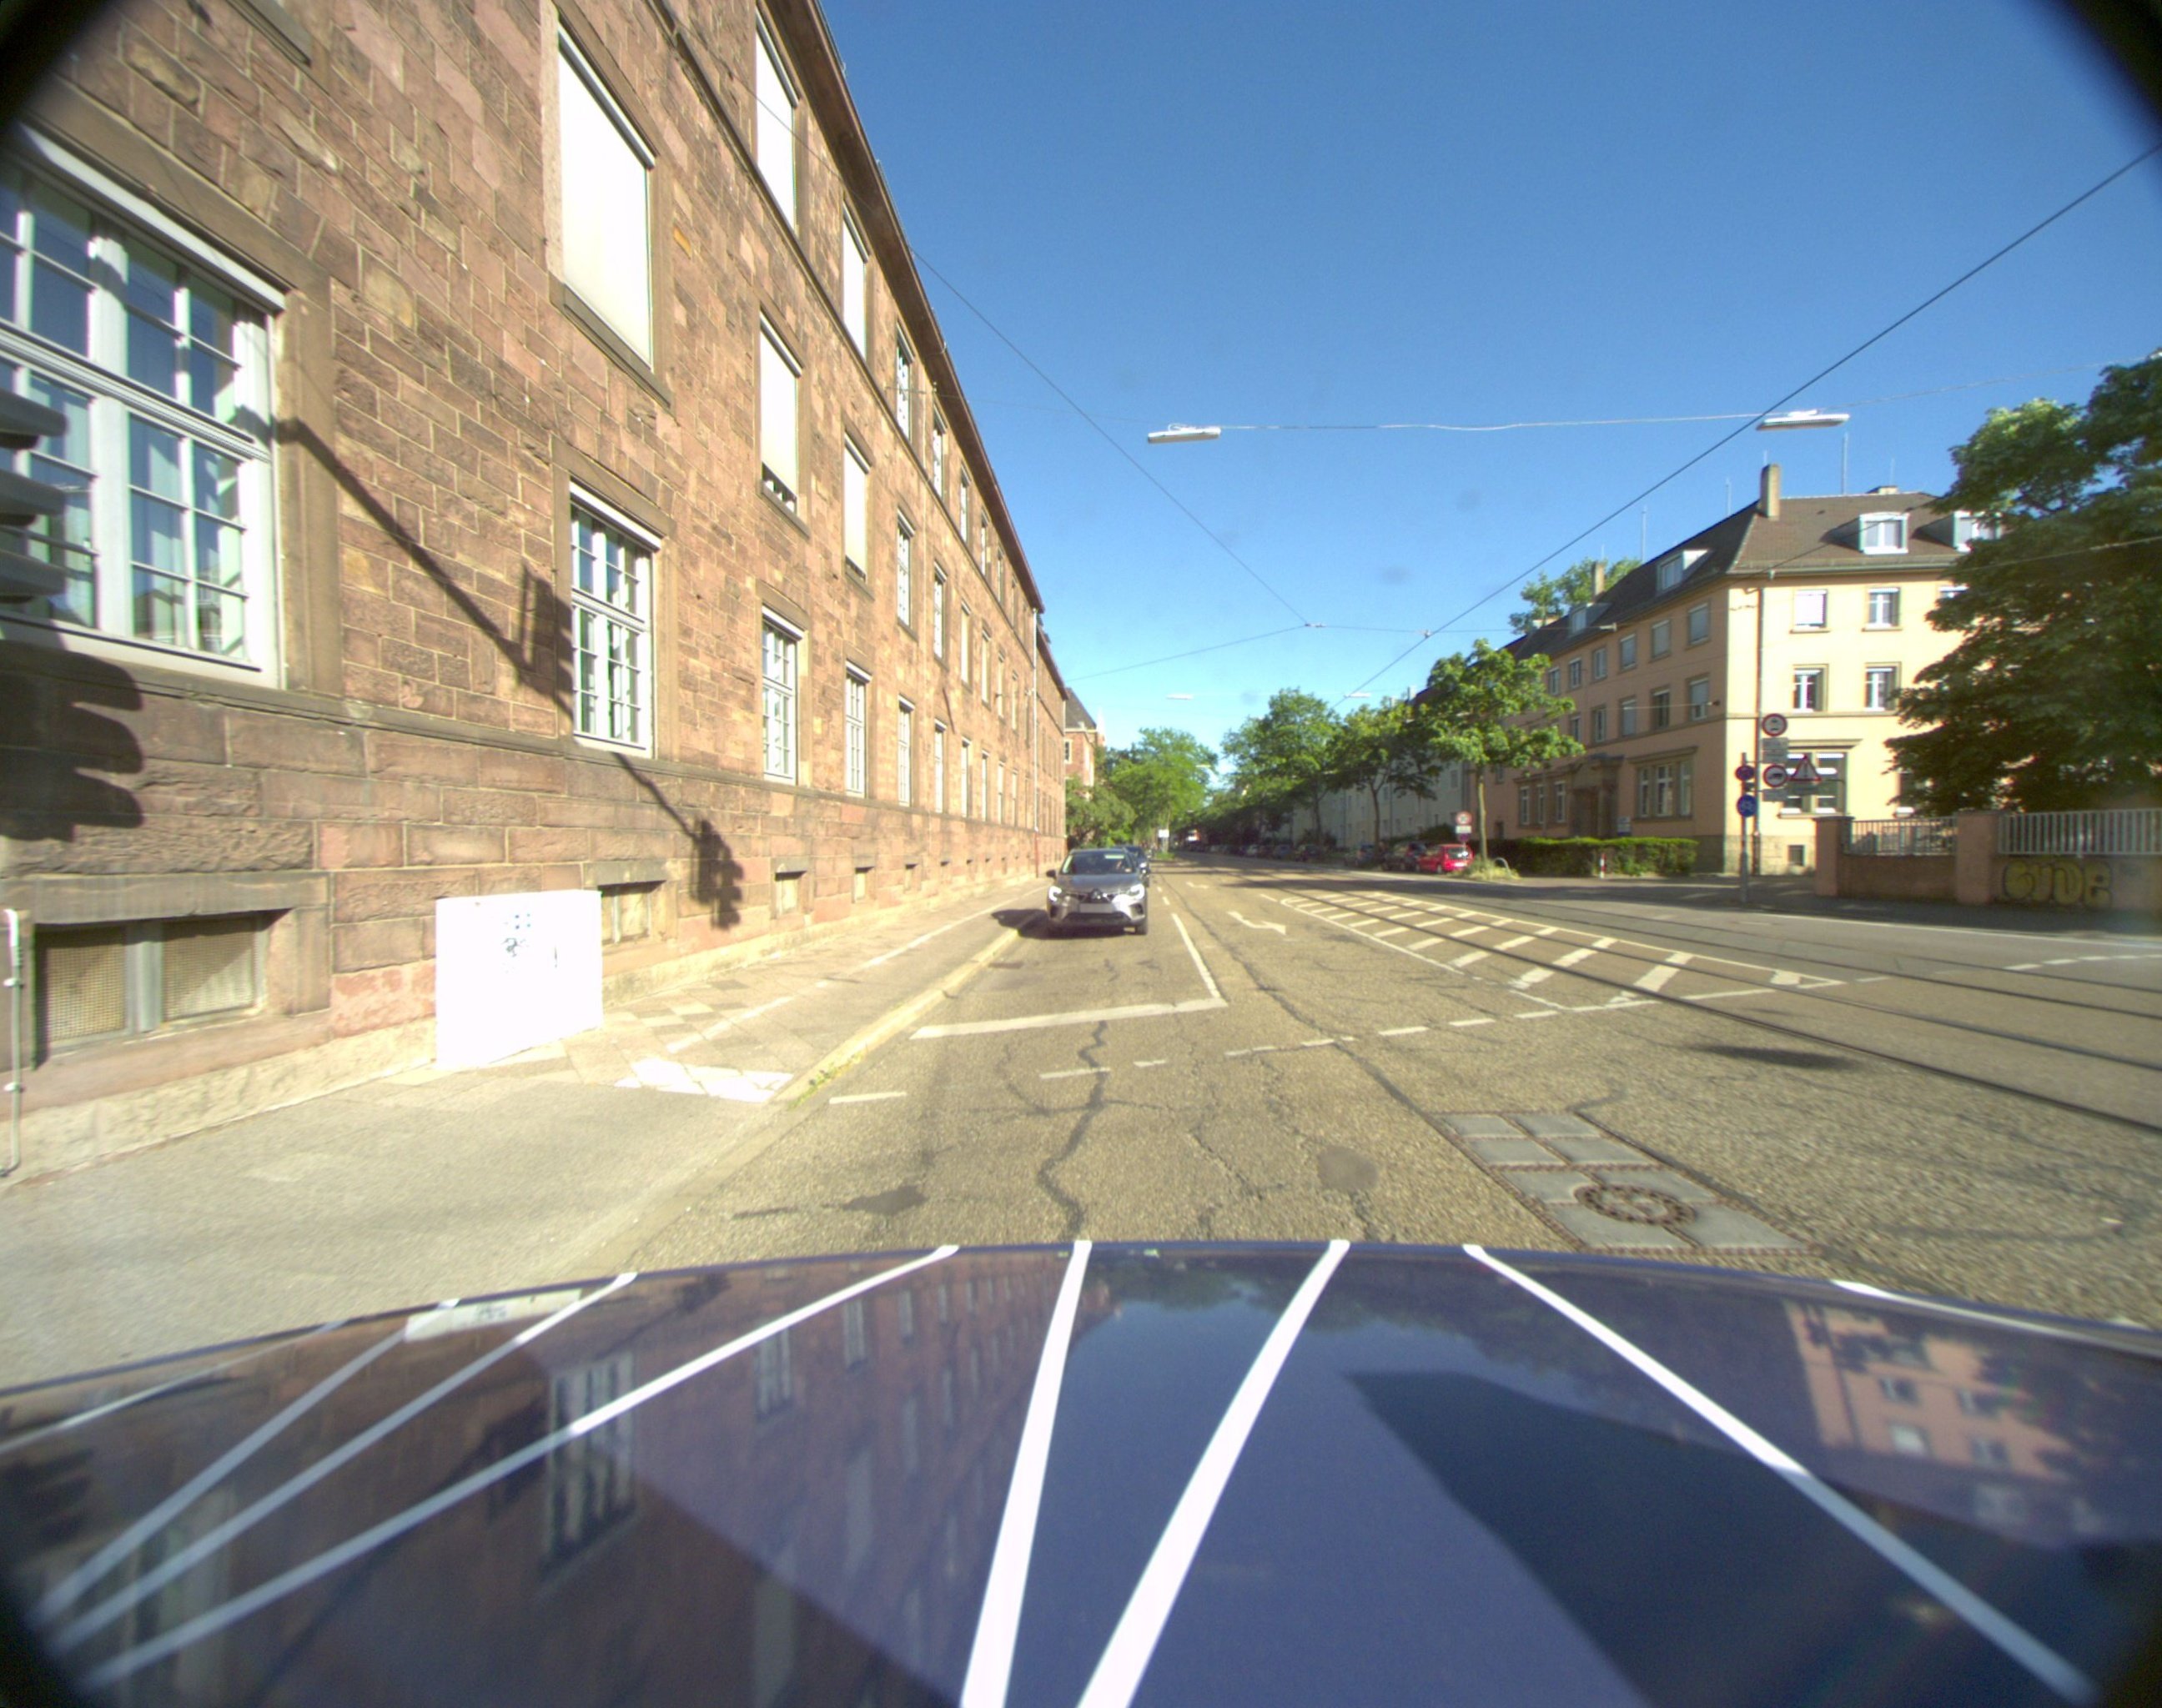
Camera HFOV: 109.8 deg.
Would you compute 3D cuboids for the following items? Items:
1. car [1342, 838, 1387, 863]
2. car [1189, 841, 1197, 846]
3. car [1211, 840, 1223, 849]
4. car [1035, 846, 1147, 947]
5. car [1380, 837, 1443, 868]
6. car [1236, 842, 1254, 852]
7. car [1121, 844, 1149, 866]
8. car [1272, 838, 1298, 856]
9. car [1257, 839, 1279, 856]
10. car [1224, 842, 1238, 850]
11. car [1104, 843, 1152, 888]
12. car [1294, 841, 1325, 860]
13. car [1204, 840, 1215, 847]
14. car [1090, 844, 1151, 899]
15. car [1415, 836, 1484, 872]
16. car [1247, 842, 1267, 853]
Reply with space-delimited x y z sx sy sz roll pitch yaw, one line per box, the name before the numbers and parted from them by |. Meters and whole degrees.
car | 18.963 -0.265 50.985 1.815 1.649 3.877 0 1 5
car | 29.936 -2.752 202.563 1.815 1.411 3.630 0 1 2
car | 26.250 -1.849 146.581 1.815 1.768 3.630 0 1 2
car | 0.248 0.682 14.369 1.795 1.595 3.799 -2 1 2
car | 18.257 -0.101 42.160 1.816 1.649 3.819 0 1 1
car | 22.967 -1.005 106.345 1.815 1.411 3.630 0 1 2
car | 3.715 0.043 52.896 1.911 1.510 4.000 0 1 3
car | 21.174 -0.702 79.036 1.815 1.815 3.795 0 1 2
car | 21.651 -0.771 87.978 1.815 1.930 3.630 0 1 2
car | 24.307 -1.310 123.158 1.815 1.411 3.630 0 1 2
car | 1.871 0.410 30.925 1.795 1.638 4.083 -2 1 2
car | 20.161 -0.346 67.190 1.815 1.590 3.630 0 1 2
car | 26.739 -2.220 158.217 1.815 1.514 3.630 0 1 2
car | 1.283 0.502 24.788 1.795 1.595 3.799 -2 1 2
car | 18.145 -0.030 37.587 1.816 1.696 3.374 0 1 1
car | 22.525 -0.873 97.427 1.815 1.411 3.630 0 1 2
